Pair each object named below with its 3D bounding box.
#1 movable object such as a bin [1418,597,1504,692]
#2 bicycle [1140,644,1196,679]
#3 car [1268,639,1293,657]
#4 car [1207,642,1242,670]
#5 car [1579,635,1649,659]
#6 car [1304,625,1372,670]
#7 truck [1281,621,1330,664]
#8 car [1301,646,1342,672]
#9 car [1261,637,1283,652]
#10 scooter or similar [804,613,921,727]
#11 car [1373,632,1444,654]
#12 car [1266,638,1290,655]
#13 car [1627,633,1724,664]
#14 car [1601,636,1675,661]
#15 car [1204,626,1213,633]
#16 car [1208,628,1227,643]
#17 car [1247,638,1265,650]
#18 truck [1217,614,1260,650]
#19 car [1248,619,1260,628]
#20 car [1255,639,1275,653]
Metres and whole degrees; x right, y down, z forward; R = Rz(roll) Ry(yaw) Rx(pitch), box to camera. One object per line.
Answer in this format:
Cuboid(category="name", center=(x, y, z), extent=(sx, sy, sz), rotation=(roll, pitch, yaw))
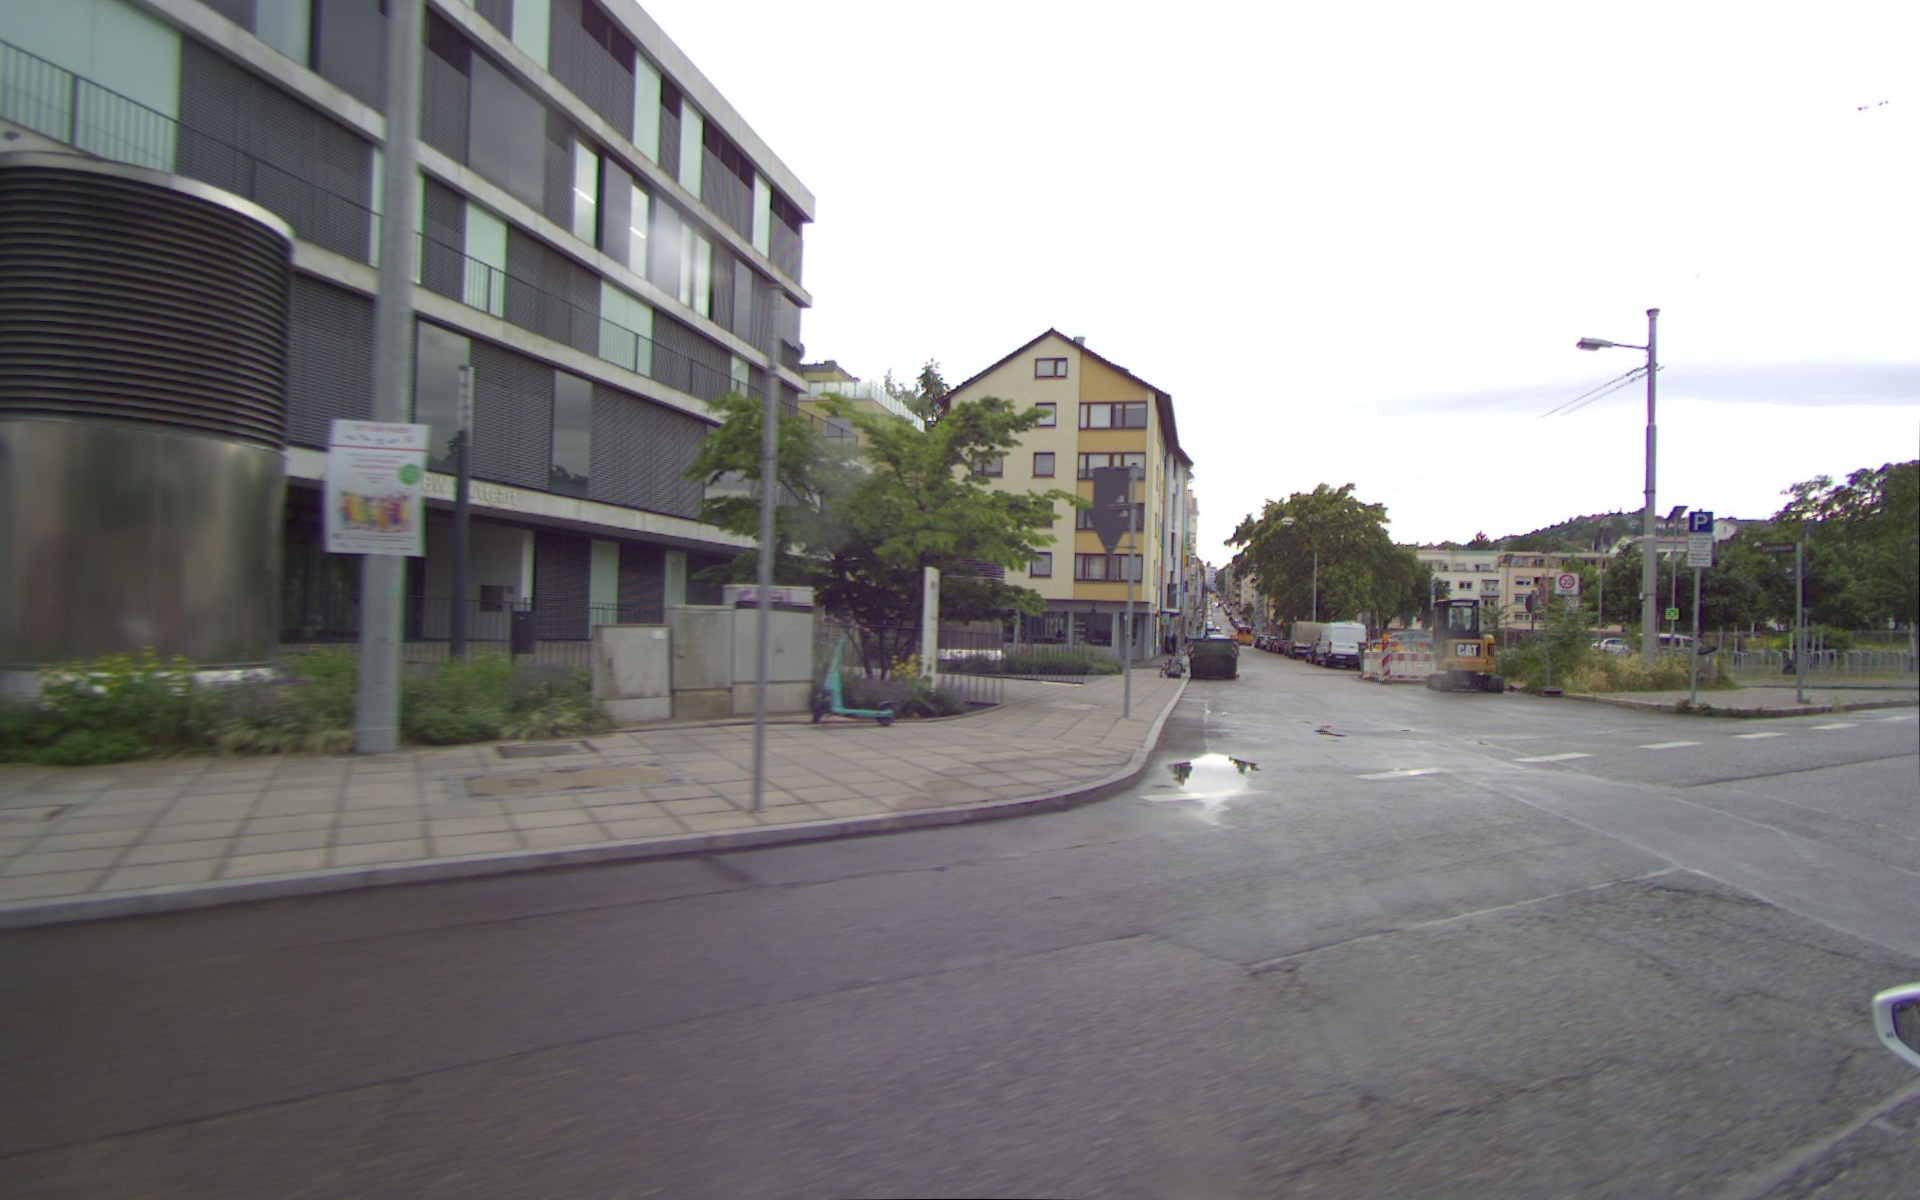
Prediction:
Cuboid(category="movable object such as a bin", center=(14.577, 1.226, 29.456), extent=(1.638, 2.492, 5.288), rotation=(1, -1, 20))
Cuboid(category="bicycle", center=(7.494, 2.205, 36.199), extent=(1.771, 1.122, 0.714), rotation=(3, 0, 37))
Cuboid(category="car", center=(29.024, 4.336, 90.973), extent=(1.763, 1.530, 4.003), rotation=(-1, -2, 12))
Cuboid(category="car", center=(15.361, 3.244, 58.572), extent=(1.763, 1.530, 4.003), rotation=(-1, -2, 12))
Cuboid(category="car", center=(47.916, 3.450, 73.675), extent=(3.919, 1.647, 1.801), rotation=(1, -1, 12))
Cuboid(category="car", center=(21.380, 2.686, 57.116), extent=(2.620, 2.445, 5.738), rotation=(-1, -2, 11))
Cuboid(category="truck", center=(25.002, 3.074, 72.952), extent=(2.724, 2.970, 5.294), rotation=(-1, -2, 12))
Cuboid(category="car", center=(22.340, 3.606, 62.150), extent=(1.763, 1.530, 4.003), rotation=(-1, -2, 11))
Cuboid(category="car", center=(32.452, 4.590, 104.617), extent=(1.763, 1.530, 4.003), rotation=(-1, -2, 12))
Cuboid(category="scooter or similar", center=(-1.128, 0.808, 11.693), extent=(1.217, 1.265, 0.494), rotation=(3, 0, -30))
Cuboid(category="car", center=(35.163, 3.386, 78.863), extent=(4.806, 1.646, 2.127), rotation=(0, -3, 14))
Cuboid(category="car", center=(30.176, 4.421, 95.491), extent=(1.763, 1.530, 4.003), rotation=(-1, -2, 12))
Cuboid(category="car", center=(45.308, 3.052, 63.727), extent=(4.597, 1.858, 2.001), rotation=(1, -1, 12))
Cuboid(category="car", center=(47.278, 3.339, 70.113), extent=(3.919, 1.647, 1.801), rotation=(1, -1, 12))
Cuboid(category="car", center=(52.732, 6.291, 213.394), extent=(1.763, 1.530, 4.003), rotation=(-1, -2, 12))
Cuboid(category="car", center=(27.420, 3.760, 107.007), extent=(1.763, 1.530, 4.003), rotation=(-1, -2, 12))
Cuboid(category="car", center=(36.492, 5.415, 123.878), extent=(1.763, 1.530, 4.003), rotation=(-1, -2, 12))
Cuboid(category="truck", center=(43.458, 5.077, 157.451), extent=(5.496, 5.211, 15.717), rotation=(-1, -2, 12))
Cuboid(category="car", center=(56.225, 4.466, 192.052), extent=(1.765, 1.530, 4.000), rotation=(1, -1, 20))
Cuboid(category="car", center=(34.574, 5.242, 113.822), extent=(1.763, 1.530, 4.003), rotation=(-1, -2, 12))
